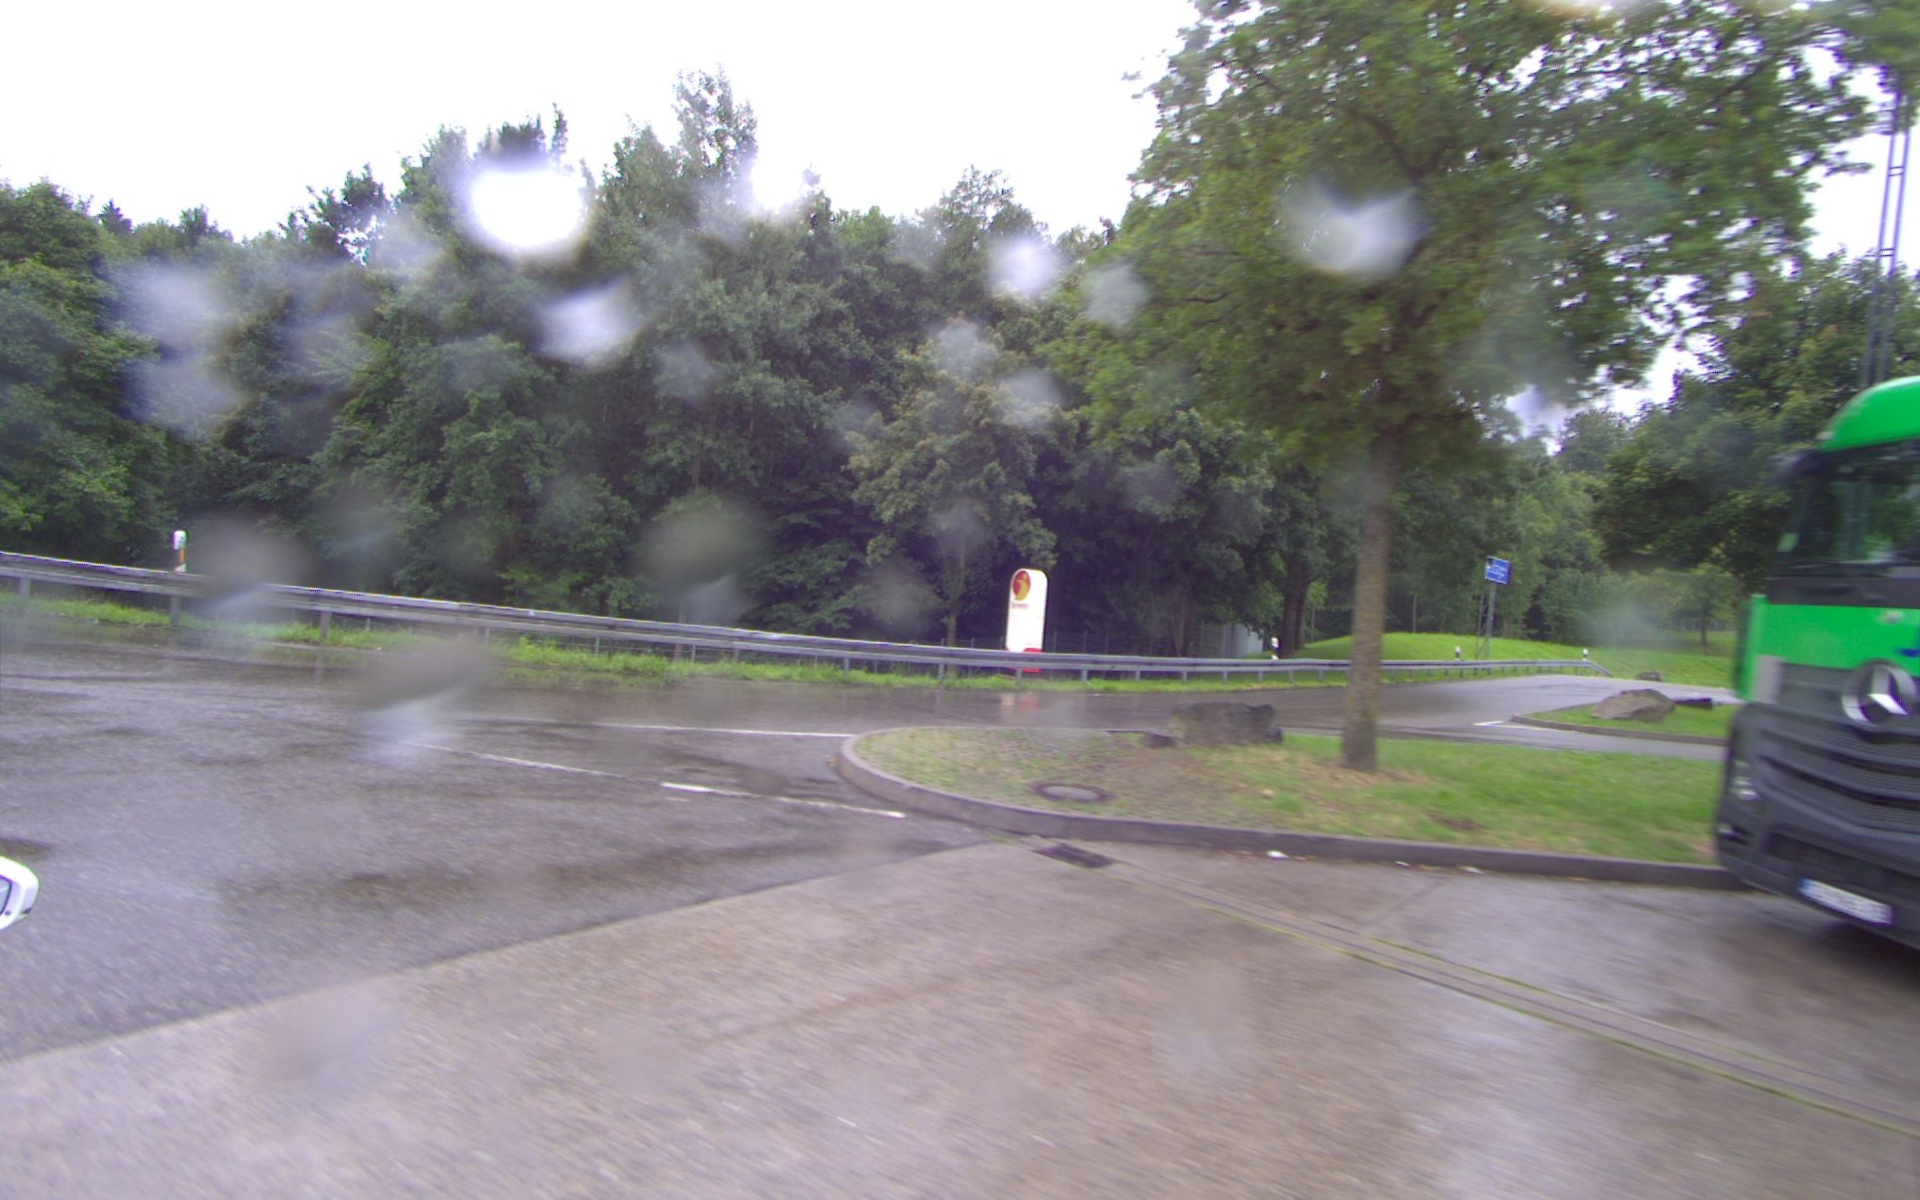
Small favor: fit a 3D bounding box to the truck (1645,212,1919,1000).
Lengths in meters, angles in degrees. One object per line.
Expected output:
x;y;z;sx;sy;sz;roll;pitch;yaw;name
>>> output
8.025;0.233;5.810;5.888;4.204;2.823;5;2;-4;truck
